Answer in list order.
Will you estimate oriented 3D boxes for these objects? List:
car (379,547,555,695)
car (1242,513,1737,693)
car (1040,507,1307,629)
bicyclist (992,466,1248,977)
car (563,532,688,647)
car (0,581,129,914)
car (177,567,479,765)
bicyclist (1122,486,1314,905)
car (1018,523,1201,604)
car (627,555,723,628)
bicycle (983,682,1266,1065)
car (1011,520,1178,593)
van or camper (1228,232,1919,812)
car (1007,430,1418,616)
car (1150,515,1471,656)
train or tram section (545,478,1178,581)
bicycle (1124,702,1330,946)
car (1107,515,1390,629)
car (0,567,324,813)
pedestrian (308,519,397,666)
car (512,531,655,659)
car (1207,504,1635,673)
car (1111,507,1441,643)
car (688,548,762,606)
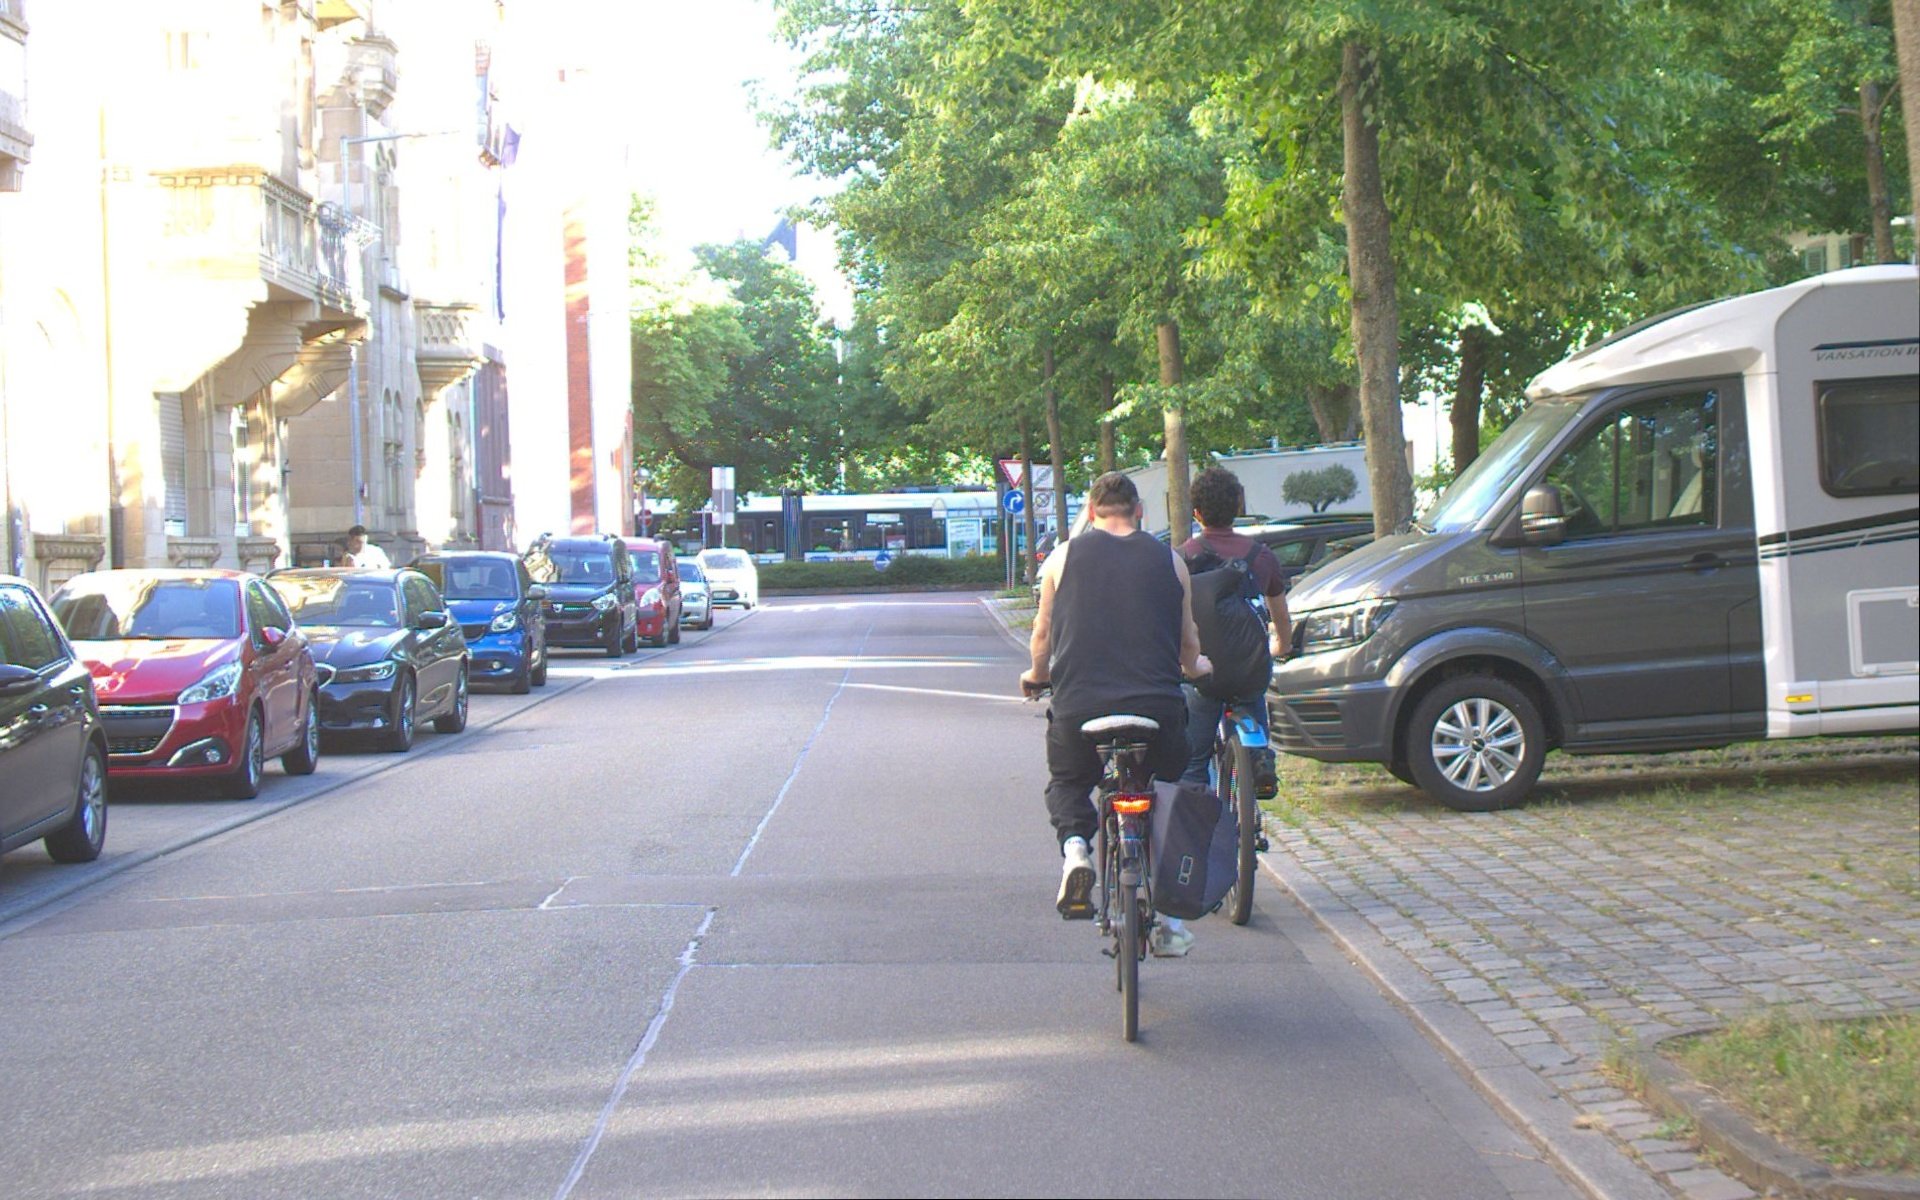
[{"bbox_3d":[-5.404,0.201,37.906,1.595,1.484,2.737,2,1,-2],"label":"car"},{"bbox_3d":[4.640,0.009,30.449,4.032,1.449,1.691,-1,1,-4],"label":"car"},{"bbox_3d":[3.454,-0.526,55.968,4.082,1.644,1.641,-4,1,-2],"label":"car"},{"bbox_3d":[0.489,0.368,10.862,0.729,1.542,0.884,1,0,-2],"label":"bicyclist"},{"bbox_3d":[-5.608,-0.210,58.082,1.688,1.819,4.273,1,1,0],"label":"car"},{"bbox_3d":[-5.052,0.655,15.588,1.696,1.448,4.028,-1,0,-2],"label":"car"},{"bbox_3d":[-5.165,0.484,28.645,1.675,1.425,4.551,1,1,0],"label":"car"},{"bbox_3d":[1.021,0.363,13.804,0.689,1.621,0.998,0,1,0],"label":"bicyclist"},{"bbox_3d":[3.361,-0.823,77.648,3.986,1.797,1.834,0,0,-3],"label":"car"},{"bbox_3d":[-5.701,-0.197,69.165,1.583,1.339,4.131,1,1,0],"label":"car"},{"bbox_3d":[0.483,0.817,10.928,0.737,1.050,1.956,1,0,-2],"label":"bicycle"},{"bbox_3d":[3.327,-1.067,85.533,3.986,1.797,1.834,0,0,-3],"label":"car"},{"bbox_3d":[5.166,-0.562,18.350,7.147,2.638,2.464,-5,1,2],"label":"van or camper"},{"bbox_3d":[4.589,-1.413,63.285,7.146,2.968,2.465,-3,1,-3],"label":"car"},{"bbox_3d":[4.283,-0.164,42.450,3.773,1.594,1.691,-2,-1,1],"label":"car"},{"bbox_3d":[-3.464,-2.561,128.997,23.800,3.696,4.287,0,0,-22],"label":"train or tram section"},{"bbox_3d":[1.037,0.862,13.722,0.633,0.796,1.833,-2,1,-1],"label":"bicycle"},{"bbox_3d":[4.439,-0.419,53.295,4.138,1.594,1.702,-2,-1,-3],"label":"car"},{"bbox_3d":[-5.314,0.533,22.919,1.628,1.448,3.838,0,1,-3],"label":"car"},{"bbox_3d":[-7.287,-0.092,41.242,0.938,1.736,0.735,0,0,0],"label":"pedestrian"},{"bbox_3d":[-5.536,-0.116,50.993,1.640,1.777,4.354,1,1,0],"label":"car"},{"bbox_3d":[4.763,-0.106,35.944,4.223,1.594,1.691,-2,-1,1],"label":"car"},{"bbox_3d":[4.084,-0.309,44.900,4.139,1.594,1.702,-2,-1,1],"label":"car"},{"bbox_3d":[-5.892,-0.597,86.487,1.583,1.371,4.131,1,1,0],"label":"car"}]
